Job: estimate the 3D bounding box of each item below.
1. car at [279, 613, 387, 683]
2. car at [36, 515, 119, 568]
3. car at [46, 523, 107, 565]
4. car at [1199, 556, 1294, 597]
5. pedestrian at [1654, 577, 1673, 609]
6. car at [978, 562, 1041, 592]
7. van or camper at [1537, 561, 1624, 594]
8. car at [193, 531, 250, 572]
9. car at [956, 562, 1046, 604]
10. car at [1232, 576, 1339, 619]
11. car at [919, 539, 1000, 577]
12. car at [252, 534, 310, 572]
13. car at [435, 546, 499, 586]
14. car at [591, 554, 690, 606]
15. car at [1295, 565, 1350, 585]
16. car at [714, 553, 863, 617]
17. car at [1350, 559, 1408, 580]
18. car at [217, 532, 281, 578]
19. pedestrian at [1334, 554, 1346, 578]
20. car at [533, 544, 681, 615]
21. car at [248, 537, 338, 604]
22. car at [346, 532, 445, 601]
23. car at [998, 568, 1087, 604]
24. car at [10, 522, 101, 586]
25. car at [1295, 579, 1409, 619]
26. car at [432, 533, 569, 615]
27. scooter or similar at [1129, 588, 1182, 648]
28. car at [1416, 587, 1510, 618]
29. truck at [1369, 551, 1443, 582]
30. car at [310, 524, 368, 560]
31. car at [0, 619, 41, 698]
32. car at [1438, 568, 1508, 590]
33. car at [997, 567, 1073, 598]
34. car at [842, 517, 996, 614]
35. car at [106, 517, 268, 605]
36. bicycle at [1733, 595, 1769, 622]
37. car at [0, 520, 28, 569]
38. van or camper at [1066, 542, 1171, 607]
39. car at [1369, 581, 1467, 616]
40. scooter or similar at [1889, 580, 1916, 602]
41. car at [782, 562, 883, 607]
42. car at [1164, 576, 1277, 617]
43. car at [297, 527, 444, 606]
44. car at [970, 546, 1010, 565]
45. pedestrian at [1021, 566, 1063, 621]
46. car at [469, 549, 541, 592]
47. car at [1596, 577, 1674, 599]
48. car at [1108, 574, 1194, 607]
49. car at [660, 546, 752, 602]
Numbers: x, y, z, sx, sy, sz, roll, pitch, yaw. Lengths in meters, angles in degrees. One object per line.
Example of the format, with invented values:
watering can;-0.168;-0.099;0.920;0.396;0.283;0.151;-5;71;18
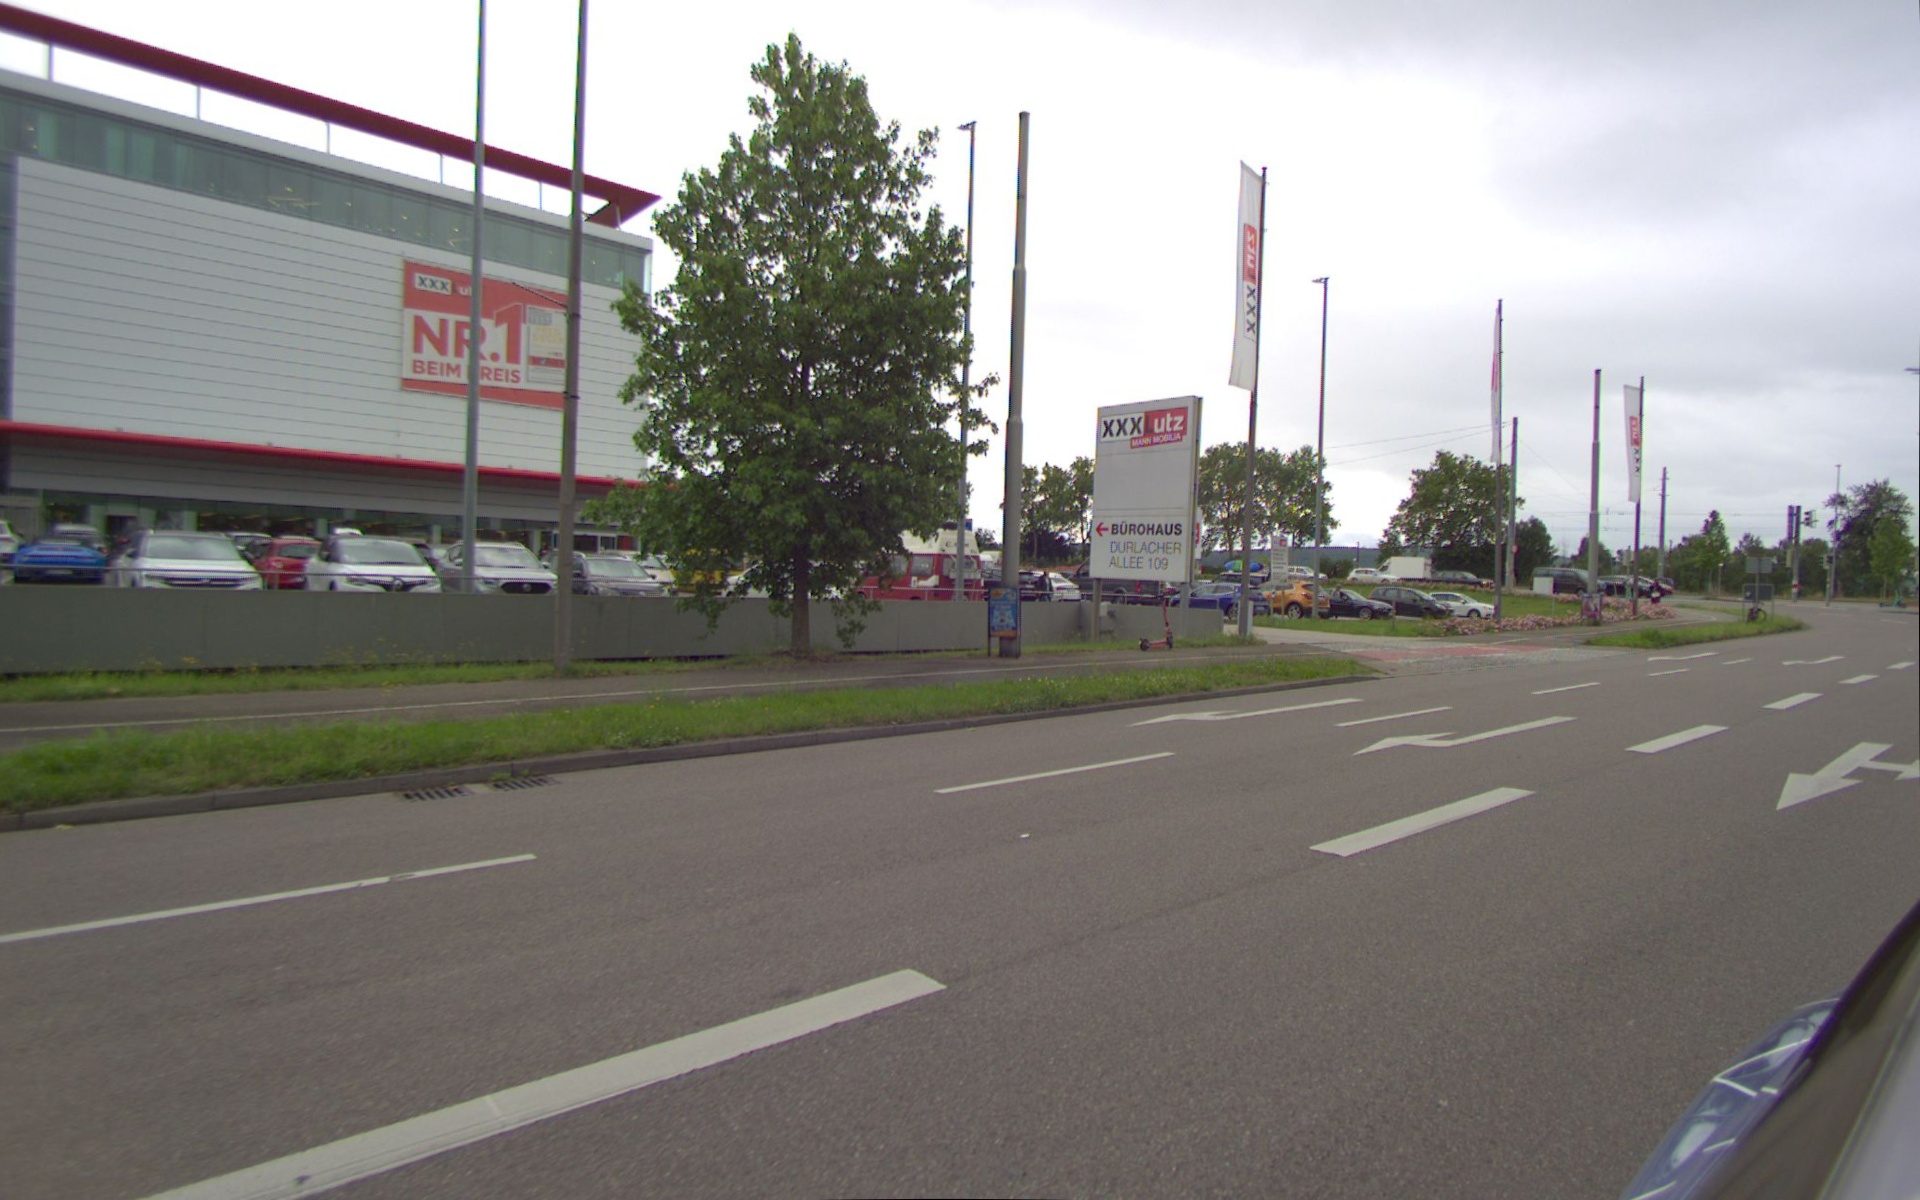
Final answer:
car;-14.931;1.058;24.026;1.732;1.367;4.064;0;1;-38
car;-31.538;-2.042;36.264;1.859;1.771;4.000;0;1;-35
car;-35.960;-2.244;41.257;1.711;1.574;3.780;3;0;-40
car;16.450;-1.384;58.377;2.082;2.191;5.053;0;3;-35
pedestrian;37.081;-0.371;53.344;0.711;1.616;0.775;1;3;31
car;3.218;-1.523;66.763;1.831;1.802;4.222;0;2;-38
van or camper;42.846;-1.568;70.034;2.080;2.037;4.764;-1;4;-24
car;-31.663;-2.057;43.369;1.711;1.574;3.780;3;0;-40
car;1.786;-0.770;45.105;1.800;1.674;3.899;1;2;-42
car;13.635;-0.159;42.542;1.781;1.663;4.000;0;2;-35
car;-0.125;-3.539;85.792;2.723;3.027;6.934;3;0;-44
car;-30.812;-2.116;45.888;1.798;1.574;3.801;3;0;-40
car;-24.431;-1.679;50.084;1.810;1.893;3.992;0;1;-43
car;-10.907;-0.698;34.380;1.845;1.616;3.997;3;0;-39
car;31.133;-2.177;87.015;1.717;1.622;4.067;3;0;-42
car;-4.559;-0.399;26.445;1.925;1.479;4.386;3;0;-38
car;34.326;-2.516;82.929;1.703;1.558;4.041;3;1;-40
car;-27.846;-1.724;39.564;1.847;1.631;3.998;3;0;-37
pedestrian;29.772;-2.667;79.239;0.622;1.804;0.547;2;-1;-8
car;-8.266;-0.481;23.425;1.833;1.437;4.477;3;0;-38
car;-18.346;-0.795;27.773;1.799;1.684;4.184;0;1;-37
car;-16.301;-0.930;29.117;1.853;1.766;4.325;2;0;-37
car;3.767;-0.665;46.752;1.830;1.571;3.996;-1;2;-39
car;-25.212;-1.306;28.222;1.802;1.643;3.994;0;3;-42
car;17.533;-0.097;45.375;4.515;1.602;1.747;2;3;37
car;-9.994;-0.550;21.849;1.731;1.560;4.064;3;0;-38
scooter or similar;4.105;0.373;21.207;1.226;1.206;0.371;1;1;-41
car;26.937;0.128;54.275;1.843;1.464;4.114;3;0;-41
truck;47.715;-3.626;108.366;6.525;2.959;2.783;4;1;44
car;-30.009;-2.770;48.874;1.798;1.574;3.800;3;0;-41
car;-19.891;1.148;20.465;1.732;1.367;4.063;0;1;-40
car;39.050;-1.617;77.115;1.931;1.482;4.324;0;3;-35
car;3.987;-0.964;54.137;1.821;1.575;3.996;0;1;-39
car;-1.305;-0.992;30.117;2.130;2.612;4.735;3;0;-38
car;-14.077;-0.688;18.344;4.055;1.367;1.735;2;0;44
bicycle;32.054;0.333;40.985;1.659;1.061;0.666;-1;2;-34
car;-33.118;-1.866;34.353;1.707;1.607;3.580;0;1;-35
van or camper;7.654;-1.275;49.448;1.952;3.020;5.401;0;2;-33
car;22.898;-0.082;50.717;1.740;1.603;4.096;2;1;-43
scooter or similar;56.892;-0.535;61.085;0.314;1.271;1.118;-1;3;-27
car;-4.974;-0.609;38.998;1.800;1.604;4.423;3;0;-38
car;10.049;-0.177;39.282;1.782;1.473;3.997;-1;2;-39
car;-11.880;-0.664;20.268;1.802;1.367;4.062;3;0;-41
car;4.546;-6.872;154.421;5.883;2.658;2.622;4;1;44
pedestrian;2.633;-0.211;32.507;0.870;1.741;0.941;3;-1;-42
car;-20.728;-1.339;46.050;1.810;1.863;3.991;0;1;-43
car;47.723;-0.890;71.607;1.800;1.482;4.214;0;1;-28
car;9.706;-0.526;51.656;1.964;1.588;3.996;0;1;-39
car;-8.976;-0.914;35.598;1.702;1.790;3.746;3;0;-38
